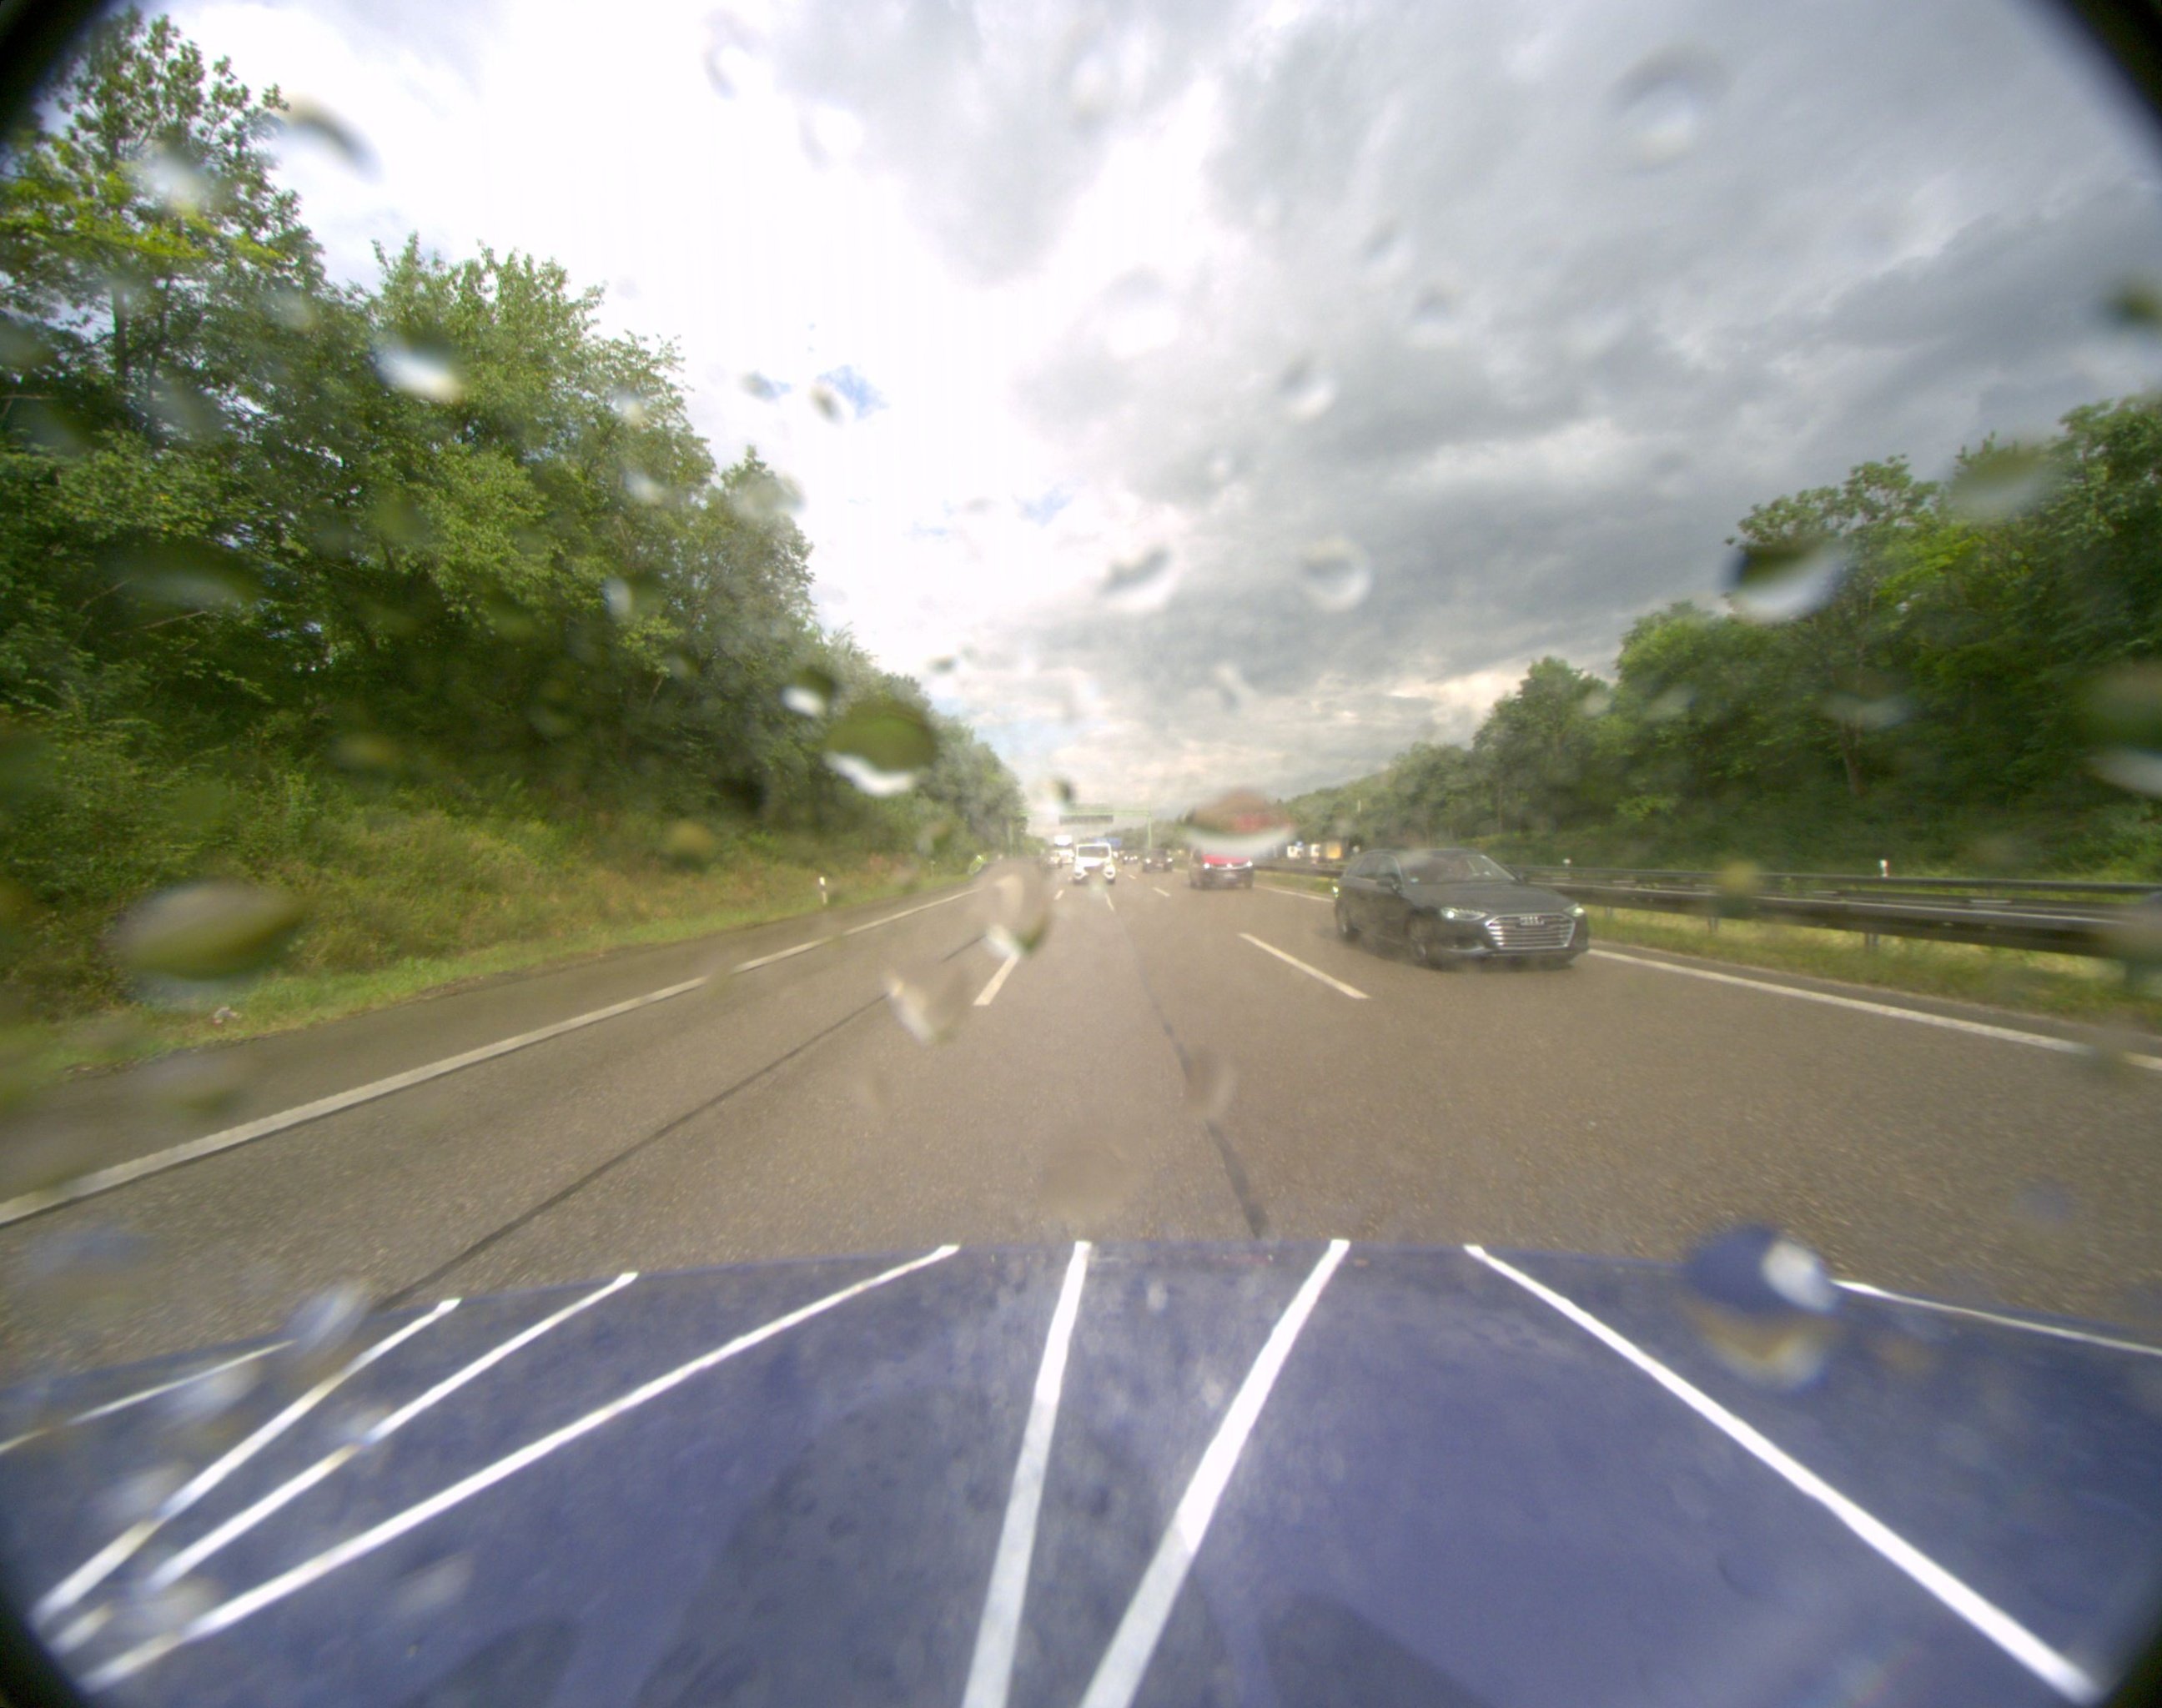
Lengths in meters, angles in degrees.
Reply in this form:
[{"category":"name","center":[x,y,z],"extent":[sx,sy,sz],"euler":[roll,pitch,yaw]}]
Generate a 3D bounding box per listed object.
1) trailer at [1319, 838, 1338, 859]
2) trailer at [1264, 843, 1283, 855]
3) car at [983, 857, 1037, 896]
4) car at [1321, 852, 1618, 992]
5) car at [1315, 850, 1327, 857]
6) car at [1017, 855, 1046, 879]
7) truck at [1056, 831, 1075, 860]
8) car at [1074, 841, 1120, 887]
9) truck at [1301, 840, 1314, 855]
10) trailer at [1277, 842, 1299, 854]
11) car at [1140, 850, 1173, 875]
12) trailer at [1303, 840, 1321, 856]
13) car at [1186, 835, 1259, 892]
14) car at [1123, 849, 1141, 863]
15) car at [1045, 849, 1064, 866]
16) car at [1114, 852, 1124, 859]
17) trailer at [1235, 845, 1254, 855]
[{"category":"trailer","center":[47.315,-1.143,145.455],"extent":[1.997,3.673,13.669],"euler":[-2,1,12]},{"category":"trailer","center":[57.218,-1.456,226.263],"extent":[2.611,3.252,12.646],"euler":[0,0,0]},{"category":"car","center":[-2.821,0.852,30.940],"extent":[1.759,1.388,4.368],"euler":[-2,0,0]},{"category":"car","center":[4.856,0.724,10.349],"extent":[1.723,1.403,4.467],"euler":[-2,0,0]},{"category":"car","center":[51.519,-0.175,163.314],"extent":[1.898,1.494,4.002],"euler":[0,0,8]},{"category":"car","center":[-3.164,0.796,49.092],"extent":[1.655,1.448,3.744],"euler":[-2,0,-1]},{"category":"truck","center":[-2.245,-1.240,111.152],"extent":[2.460,4.080,5.332],"euler":[-2,0,0]},{"category":"car","center":[0.711,0.435,36.602],"extent":[1.985,1.973,5.168],"euler":[-2,0,0]},{"category":"truck","center":[53.986,-1.480,181.469],"extent":[2.167,3.599,5.581],"euler":[0,0,8]},{"category":"trailer","center":[56.462,-1.640,207.732],"extent":[3.027,3.174,12.175],"euler":[0,0,2]},{"category":"car","center":[5.380,0.576,54.749],"extent":[1.895,1.660,4.294],"euler":[-2,0,0]},{"category":"trailer","center":[53.011,-1.451,174.410],"extent":[2.187,3.579,11.725],"euler":[0,0,8]},{"category":"car","center":[5.404,0.338,29.650],"extent":[1.895,1.973,4.750],"euler":[-2,0,0]},{"category":"car","center":[6.029,0.251,90.532],"extent":[1.895,1.557,4.053],"euler":[-2,0,0]},{"category":"car","center":[-2.789,0.346,82.401],"extent":[1.831,1.793,5.305],"euler":[-1,0,0]},{"category":"car","center":[6.952,0.324,139.359],"extent":[1.675,1.228,3.999],"euler":[-2,0,0]},{"category":"trailer","center":[56.185,-1.344,261.149],"extent":[3.193,3.252,12.644],"euler":[0,0,-2]}]
